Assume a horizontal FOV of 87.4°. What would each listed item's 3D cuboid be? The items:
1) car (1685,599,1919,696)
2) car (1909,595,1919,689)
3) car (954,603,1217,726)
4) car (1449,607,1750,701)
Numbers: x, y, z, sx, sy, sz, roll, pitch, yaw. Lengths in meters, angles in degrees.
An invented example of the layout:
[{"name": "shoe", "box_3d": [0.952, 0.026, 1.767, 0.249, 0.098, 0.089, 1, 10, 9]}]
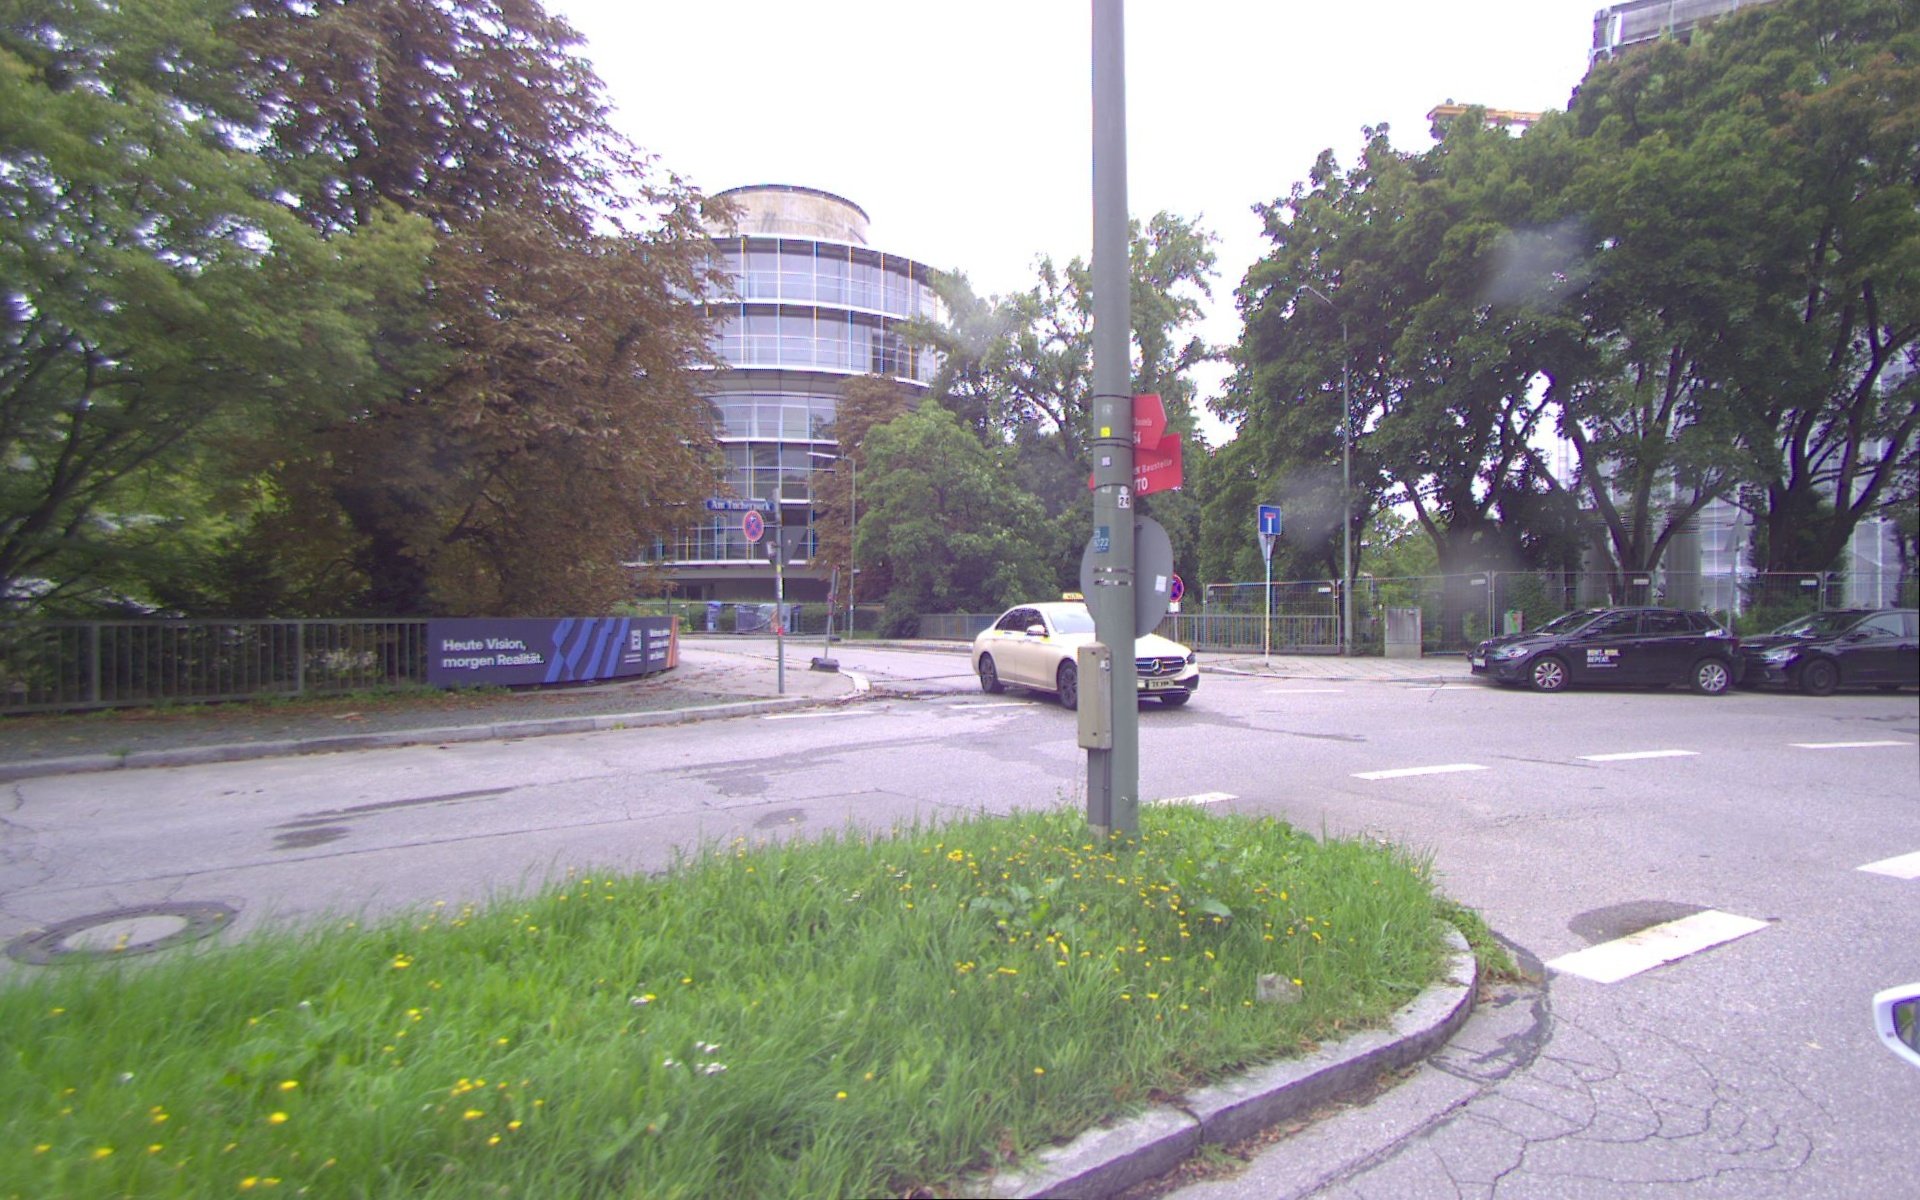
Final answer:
[{"name": "car", "box_3d": [15.168, 0.779, 17.285, 3.919, 1.561, 2.001, 0, -1, 4]}, {"name": "car", "box_3d": [19.466, 0.767, 17.478, 3.919, 1.728, 2.001, 0, -1, 4]}, {"name": "car", "box_3d": [1.668, 0.836, 15.331, 1.867, 1.566, 4.827, 0, 0, -22]}, {"name": "car", "box_3d": [11.001, 0.892, 17.551, 3.961, 1.452, 2.001, 0, 1, 4]}]
